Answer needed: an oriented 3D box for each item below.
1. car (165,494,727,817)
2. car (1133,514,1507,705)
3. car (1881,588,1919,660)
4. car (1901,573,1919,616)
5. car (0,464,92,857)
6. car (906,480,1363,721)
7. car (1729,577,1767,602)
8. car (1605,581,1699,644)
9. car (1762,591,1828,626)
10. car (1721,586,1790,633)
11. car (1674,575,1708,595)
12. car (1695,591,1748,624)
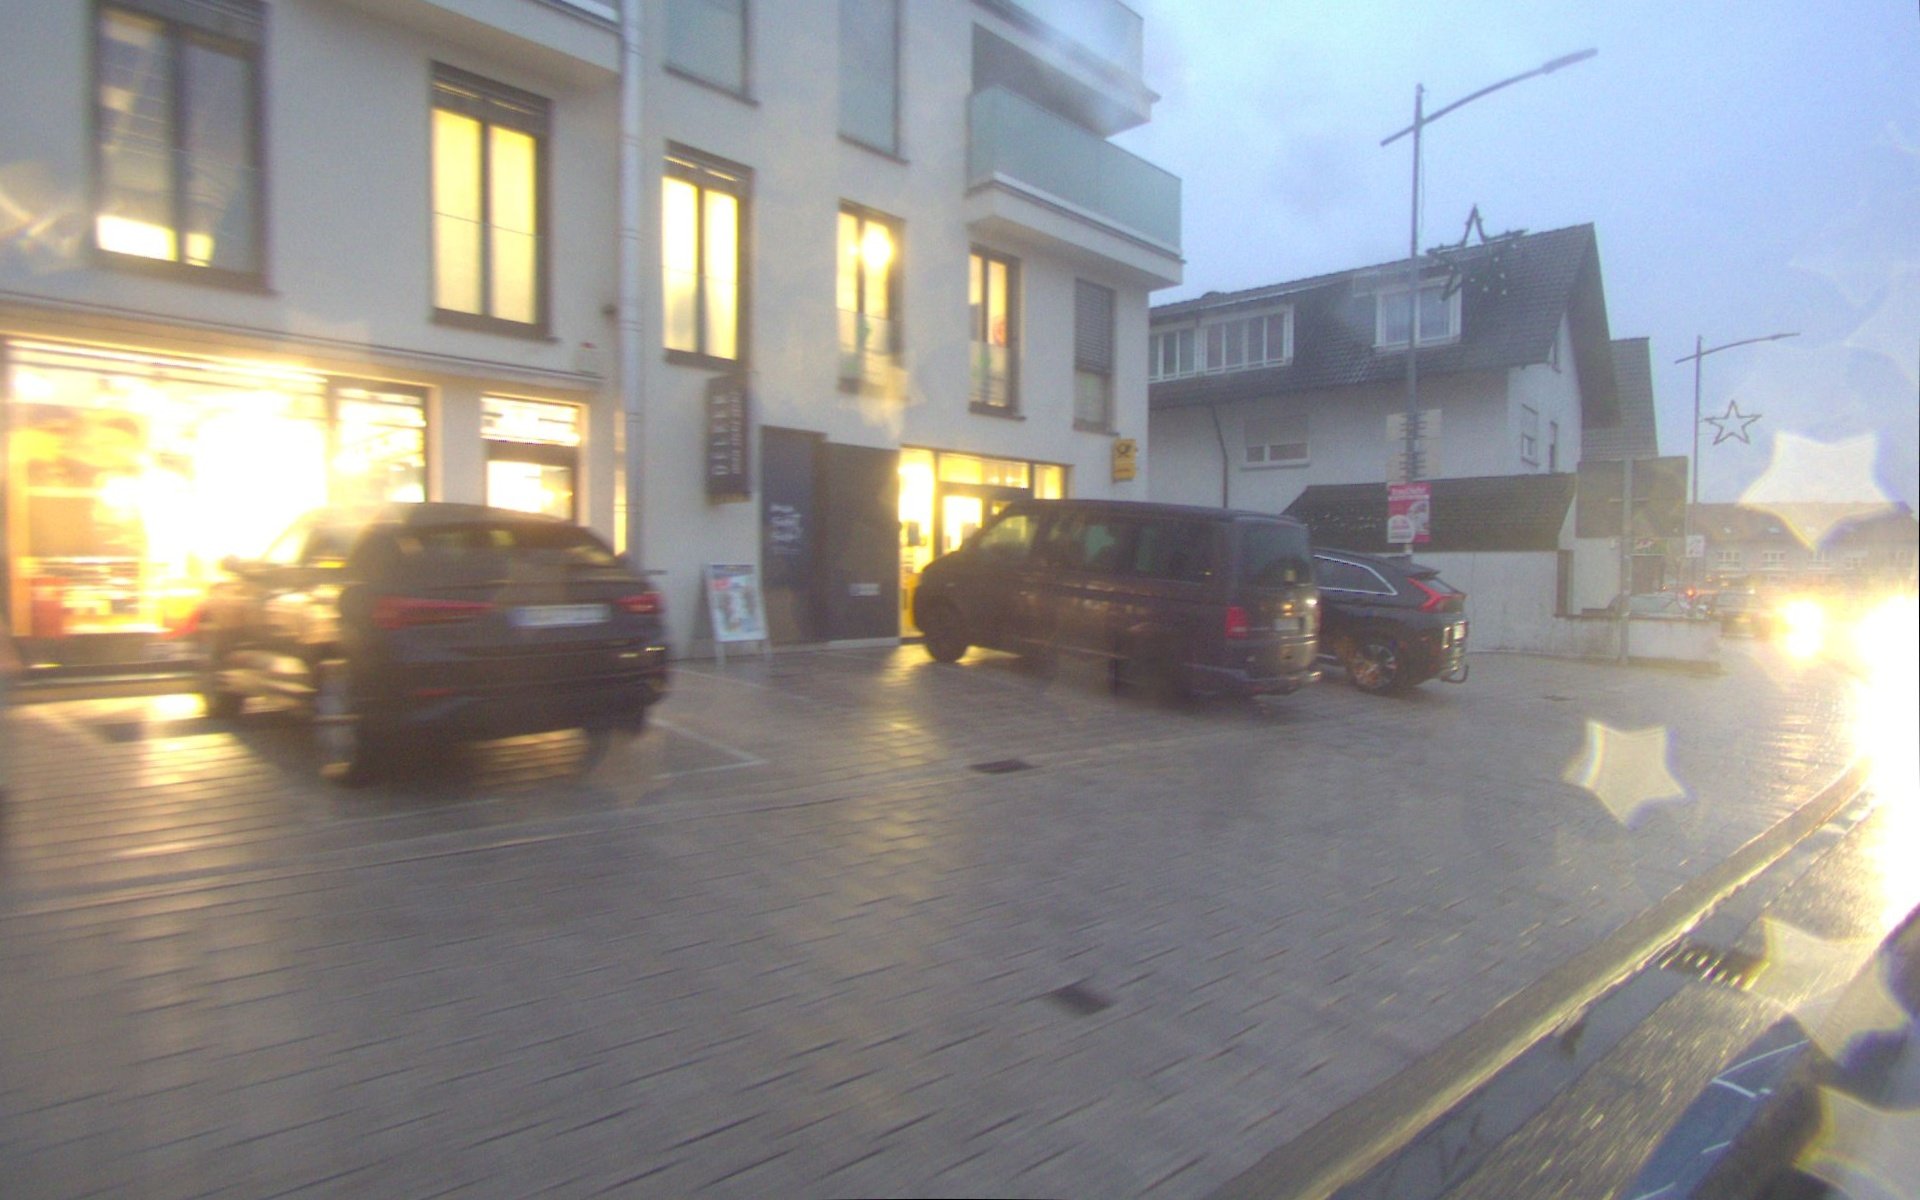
[{"bbox_3d":[-3.736,0.065,6.945,4.507,1.510,1.946,5,6,42],"label":"car"},{"bbox_3d":[4.617,-0.002,13.313,4.136,1.653,1.731,13,8,37],"label":"car"},{"bbox_3d":[21.808,0.497,22.725,1.566,1.487,3.563,0,1,41],"label":"car"},{"bbox_3d":[47.689,-0.269,49.173,1.982,2.039,3.959,0,1,29],"label":"car"},{"bbox_3d":[-5.633,0.118,4.658,3.982,1.521,1.789,5,5,39],"label":"car"},{"bbox_3d":[1.688,-0.169,11.098,1.942,1.956,4.547,1,6,-44],"label":"car"},{"bbox_3d":[66.577,-0.875,85.558,1.982,2.039,3.959,0,1,29],"label":"car"},{"bbox_3d":[18.988,0.319,27.712,1.770,1.515,3.724,4,2,39],"label":"car"},{"bbox_3d":[36.373,0.351,44.164,1.729,1.461,3.953,0,0,33],"label":"car"},{"bbox_3d":[28.905,0.312,36.873,1.838,1.606,3.719,2,1,37],"label":"car"},{"bbox_3d":[59.641,-1.194,82.646,1.656,1.541,3.961,3,1,28],"label":"car"},{"bbox_3d":[31.904,0.294,42.471,1.487,1.307,3.252,2,1,33],"label":"car"}]
